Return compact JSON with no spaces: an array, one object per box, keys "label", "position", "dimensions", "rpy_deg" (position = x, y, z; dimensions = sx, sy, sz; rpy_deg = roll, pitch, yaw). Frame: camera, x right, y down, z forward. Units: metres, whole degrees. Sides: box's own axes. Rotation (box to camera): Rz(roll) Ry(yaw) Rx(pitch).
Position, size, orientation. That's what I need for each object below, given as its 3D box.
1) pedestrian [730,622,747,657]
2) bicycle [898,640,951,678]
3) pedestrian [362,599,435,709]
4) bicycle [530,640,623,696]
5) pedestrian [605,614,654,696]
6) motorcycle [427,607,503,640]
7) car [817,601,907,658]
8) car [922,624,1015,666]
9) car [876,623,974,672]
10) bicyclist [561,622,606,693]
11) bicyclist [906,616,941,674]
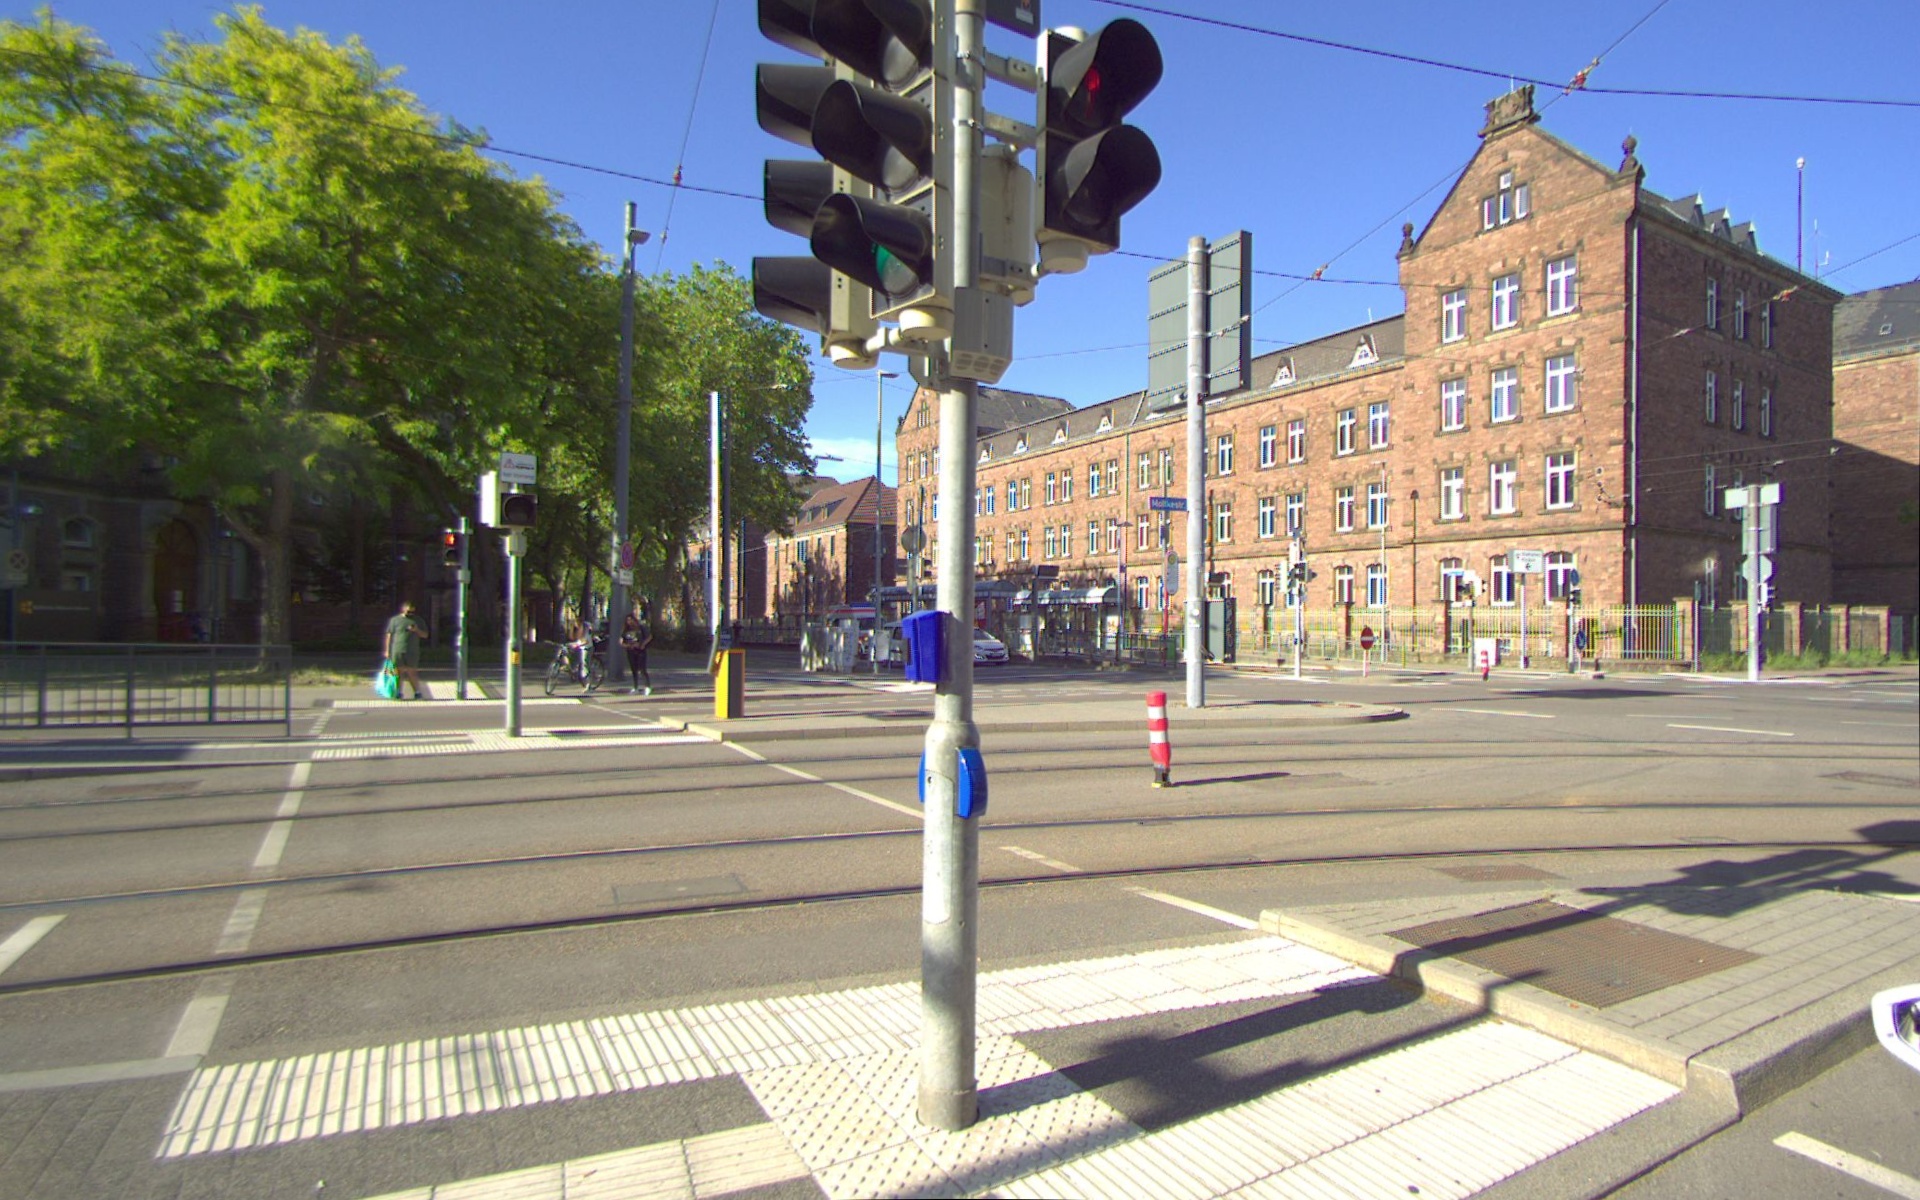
[{"label":"pedestrian","position":[-10.171,1.809,46.150],"dimensions":[0.533,1.619,0.712],"rpy_deg":[2,-1,-30]},{"label":"bicycle","position":[-1.049,1.691,29.113],"dimensions":[0.792,1.027,1.726],"rpy_deg":[2,-1,-30]},{"label":"pedestrian","position":[-9.982,0.945,17.896],"dimensions":[1.083,1.885,0.723],"rpy_deg":[2,-1,-28]},{"label":"bicycle","position":[-7.727,1.350,20.295],"dimensions":[0.681,1.063,1.665],"rpy_deg":[1,-1,33]},{"label":"pedestrian","position":[-6.542,1.087,19.914],"dimensions":[0.816,1.590,0.574],"rpy_deg":[1,0,-10]},{"label":"motorcycle","position":[-28.586,1.377,58.099],"dimensions":[1.288,1.852,3.759],"rpy_deg":[1,-1,37]},{"label":"car","position":[-4.591,1.330,46.338],"dimensions":[2.235,2.485,5.003],"rpy_deg":[2,-1,-31]},{"label":"car","position":[0.263,1.680,38.277],"dimensions":[1.854,1.466,4.048],"rpy_deg":[2,-1,-28]},{"label":"car","position":[-1.284,1.629,35.233],"dimensions":[1.854,1.542,4.048],"rpy_deg":[2,-1,-28]},{"label":"bicyclist","position":[-7.653,1.161,20.398],"dimensions":[0.679,1.402,0.533],"rpy_deg":[1,-1,34]},{"label":"bicyclist","position":[-1.052,1.293,29.151],"dimensions":[0.792,1.657,0.631],"rpy_deg":[2,-1,-31]}]
